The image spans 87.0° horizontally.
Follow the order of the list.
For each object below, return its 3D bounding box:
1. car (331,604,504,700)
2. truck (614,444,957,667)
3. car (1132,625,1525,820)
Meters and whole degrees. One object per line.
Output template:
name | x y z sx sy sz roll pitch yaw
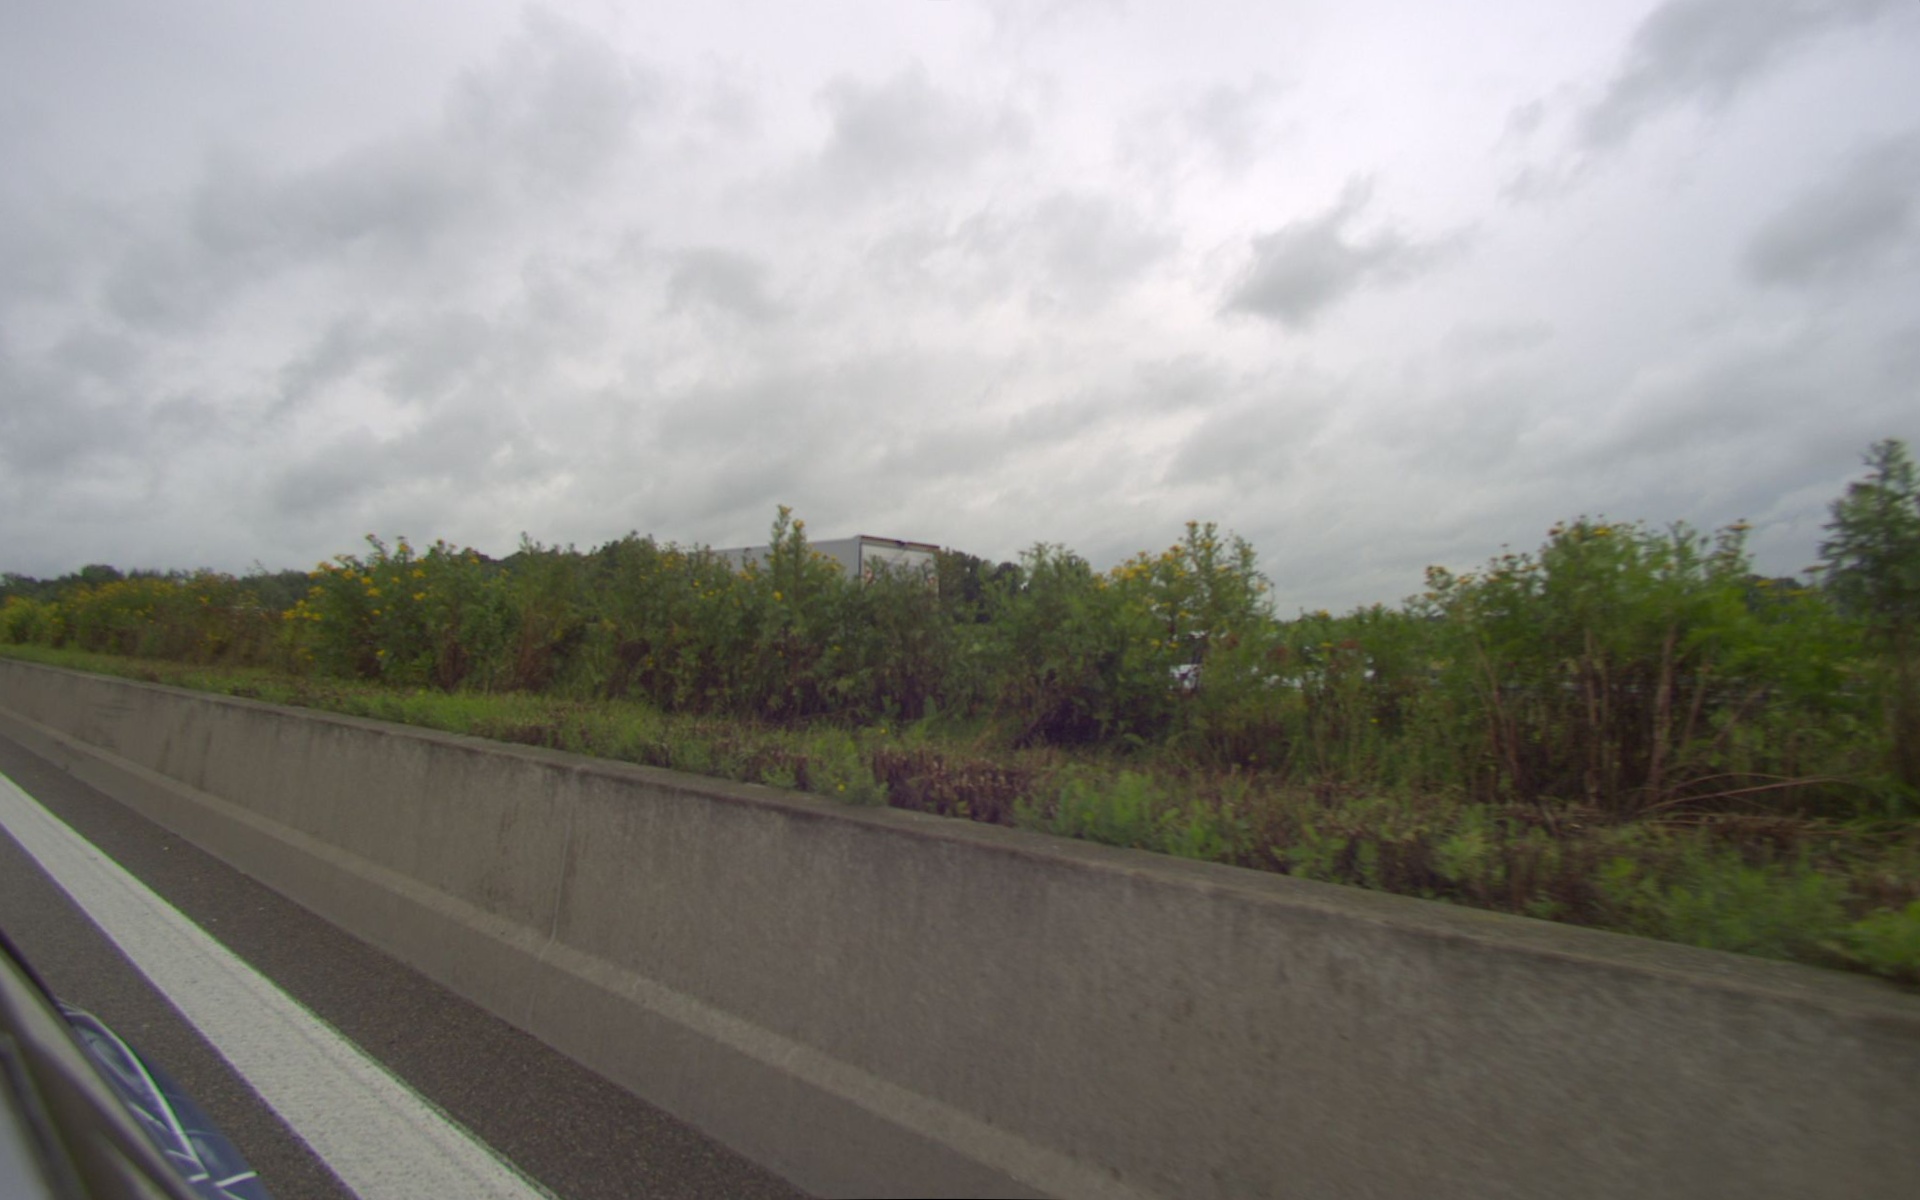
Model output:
car | -11.510 1.087 21.370 3.999 1.798 1.972 -4 -2 42
truck | -4.755 -0.894 25.684 9.669 4.684 3.191 -1 0 41
car | 4.303 1.286 12.199 4.094 1.919 1.735 -1 -1 41
